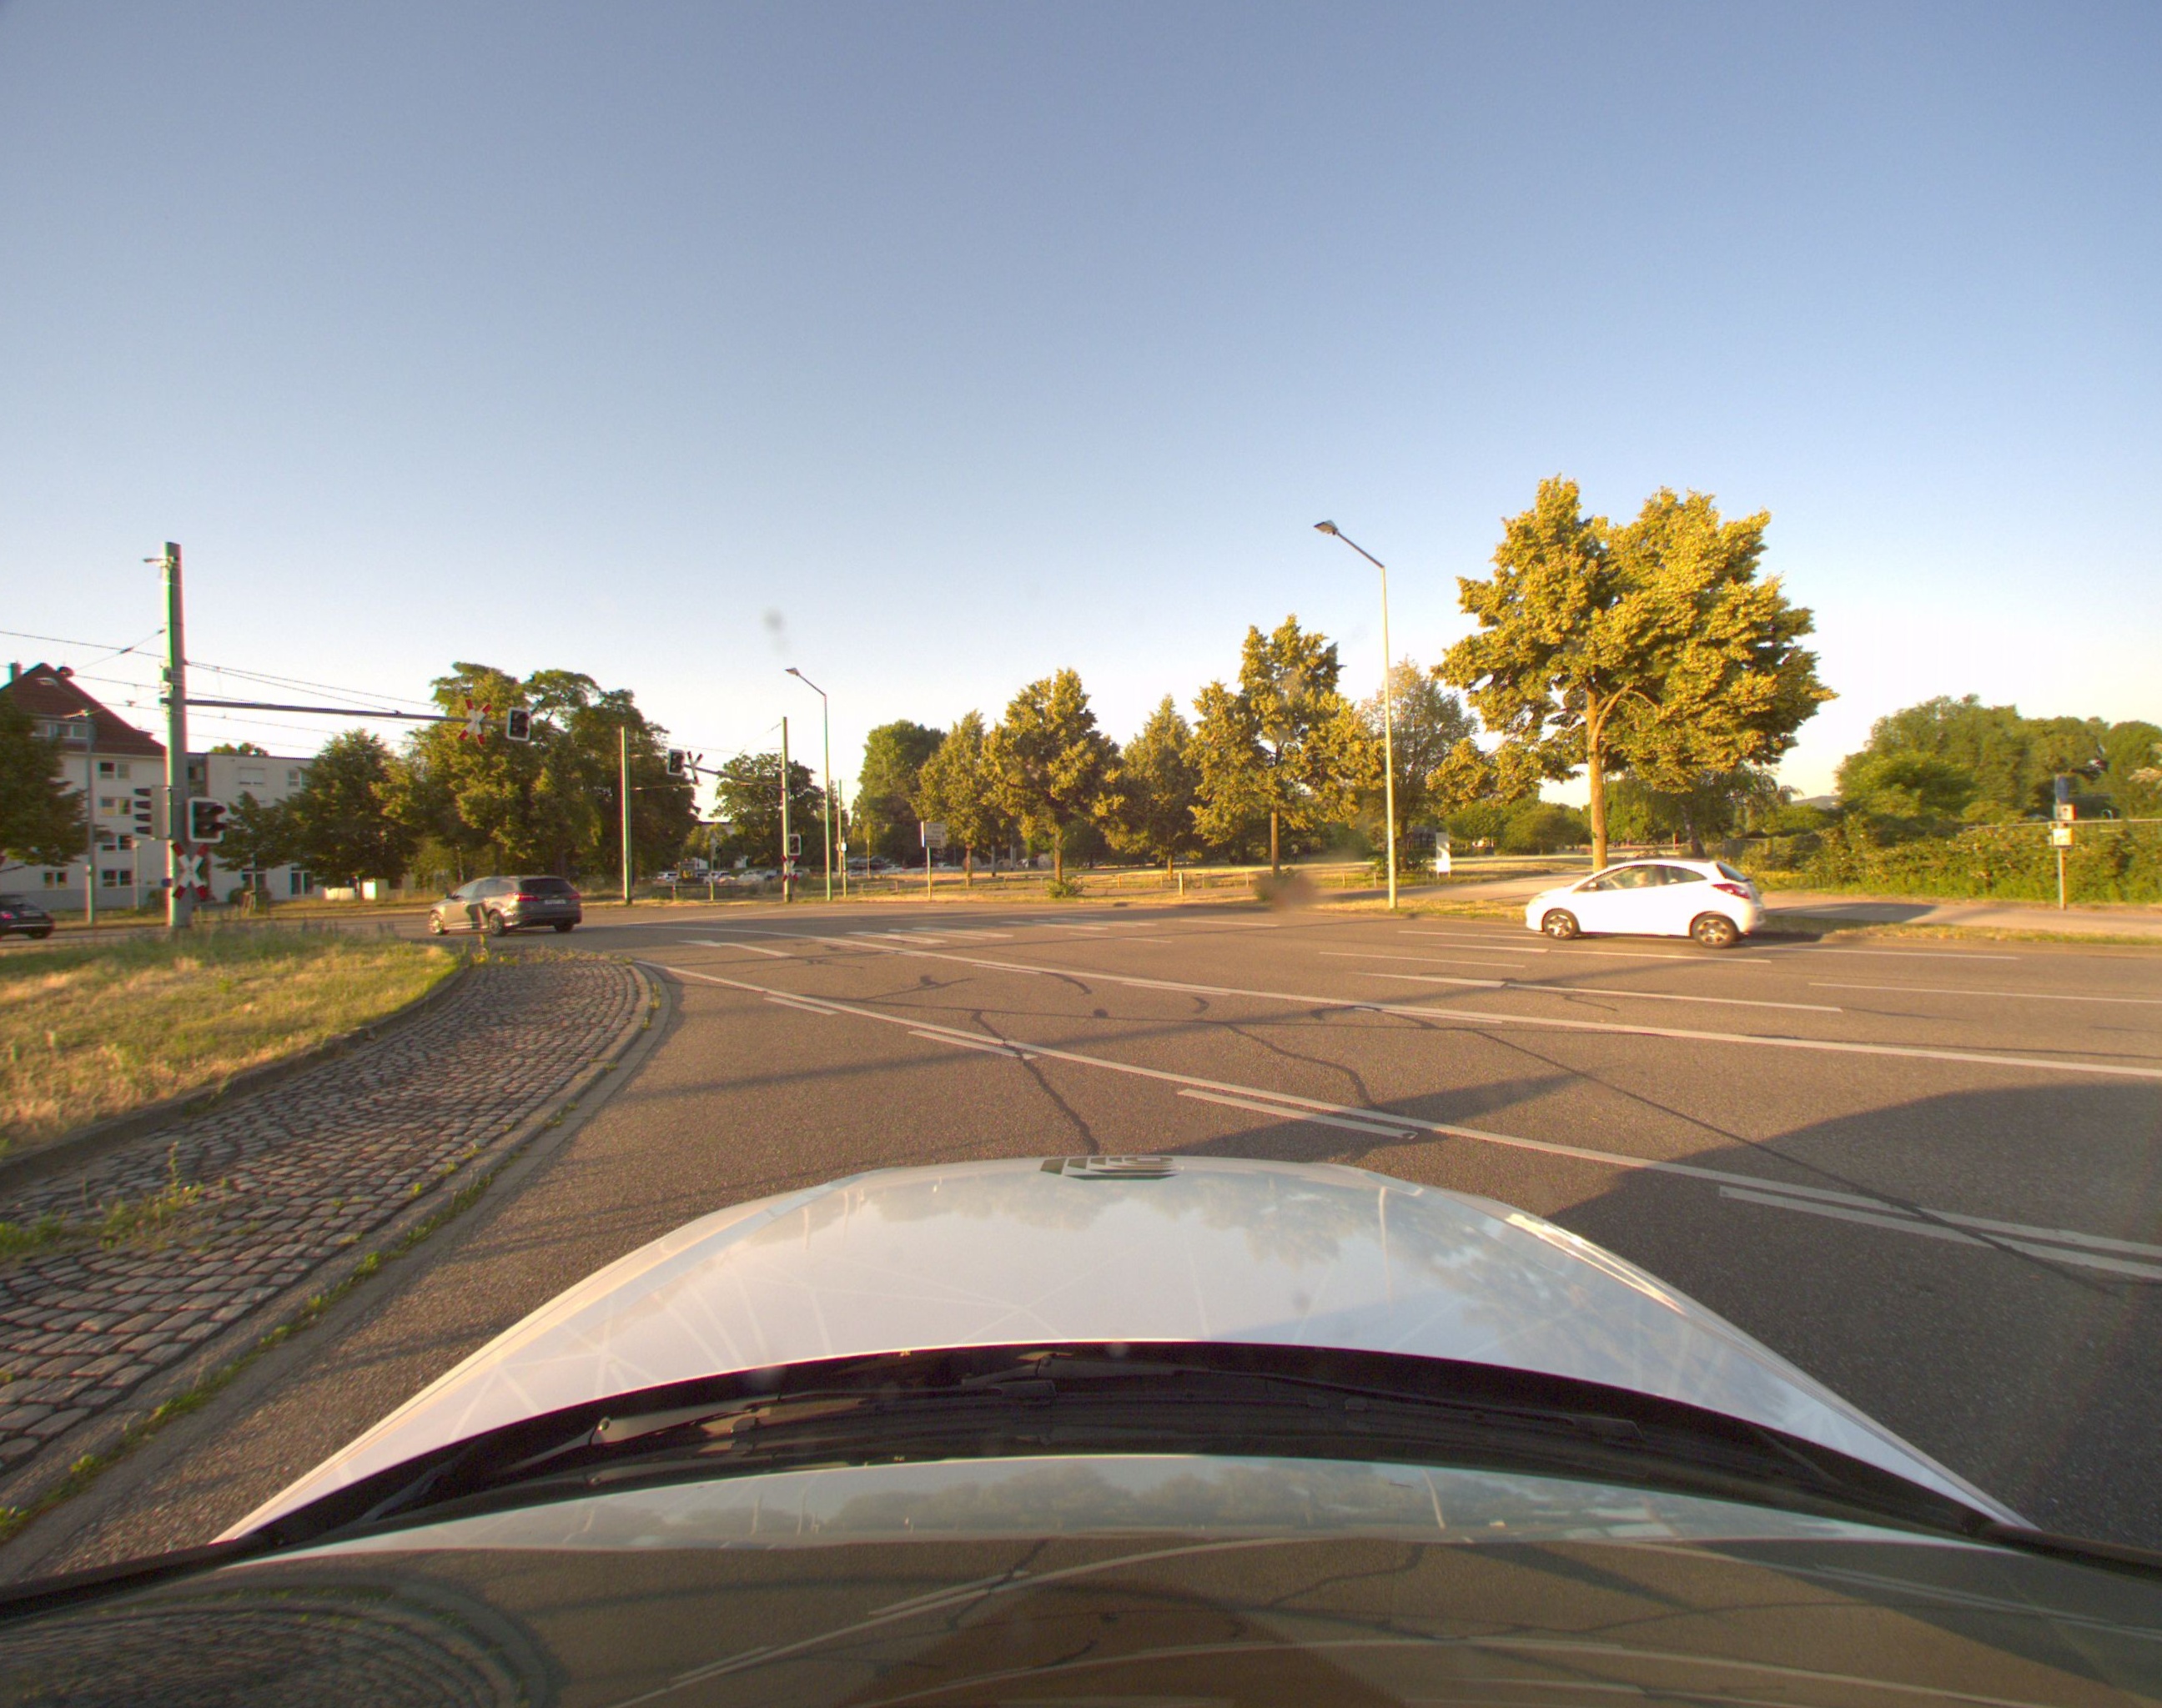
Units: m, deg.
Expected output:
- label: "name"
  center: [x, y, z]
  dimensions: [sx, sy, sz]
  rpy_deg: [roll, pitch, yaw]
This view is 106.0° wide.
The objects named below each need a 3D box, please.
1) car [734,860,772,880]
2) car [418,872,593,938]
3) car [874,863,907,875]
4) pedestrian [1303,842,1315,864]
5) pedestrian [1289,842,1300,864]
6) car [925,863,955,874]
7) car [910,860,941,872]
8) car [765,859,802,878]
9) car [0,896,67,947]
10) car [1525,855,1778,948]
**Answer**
- label: "car"
  center: [-37.147, 1.786, 92.138]
  dimensions: [3.948, 2.098, 2.013]
  rpy_deg: [-2, 0, 34]
- label: "car"
  center: [-14.636, 1.284, 20.697]
  dimensions: [4.084, 1.466, 1.762]
  rpy_deg: [-2, 0, 25]
- label: "car"
  center: [-25.445, 2.027, 108.809]
  dimensions: [3.948, 1.551, 2.013]
  rpy_deg: [-2, 0, 32]
- label: "pedestrian"
  center: [17.328, -0.095, 61.882]
  dimensions: [0.622, 1.626, 0.525]
  rpy_deg: [-1, 0, -28]
- label: "pedestrian"
  center: [16.249, -0.077, 62.051]
  dimensions: [0.582, 1.626, 0.528]
  rpy_deg: [-1, 0, -30]
- label: "car"
  center: [-20.164, 2.050, 116.415]
  dimensions: [3.948, 1.551, 2.013]
  rpy_deg: [-2, 0, 32]
- label: "car"
  center: [-21.849, 1.689, 114.698]
  dimensions: [3.948, 1.551, 2.013]
  rpy_deg: [-2, 0, 32]
- label: "car"
  center: [-34.814, 1.666, 95.317]
  dimensions: [3.948, 2.098, 2.013]
  rpy_deg: [-2, 0, 34]
- label: "car"
  center: [-34.759, 2.165, 25.102]
  dimensions: [4.126, 1.446, 1.743]
  rpy_deg: [-2, 0, -14]
- label: "car"
  center: [10.139, 0.791, 14.633]
  dimensions: [1.563, 1.443, 3.443]
  rpy_deg: [0, -1, -44]
